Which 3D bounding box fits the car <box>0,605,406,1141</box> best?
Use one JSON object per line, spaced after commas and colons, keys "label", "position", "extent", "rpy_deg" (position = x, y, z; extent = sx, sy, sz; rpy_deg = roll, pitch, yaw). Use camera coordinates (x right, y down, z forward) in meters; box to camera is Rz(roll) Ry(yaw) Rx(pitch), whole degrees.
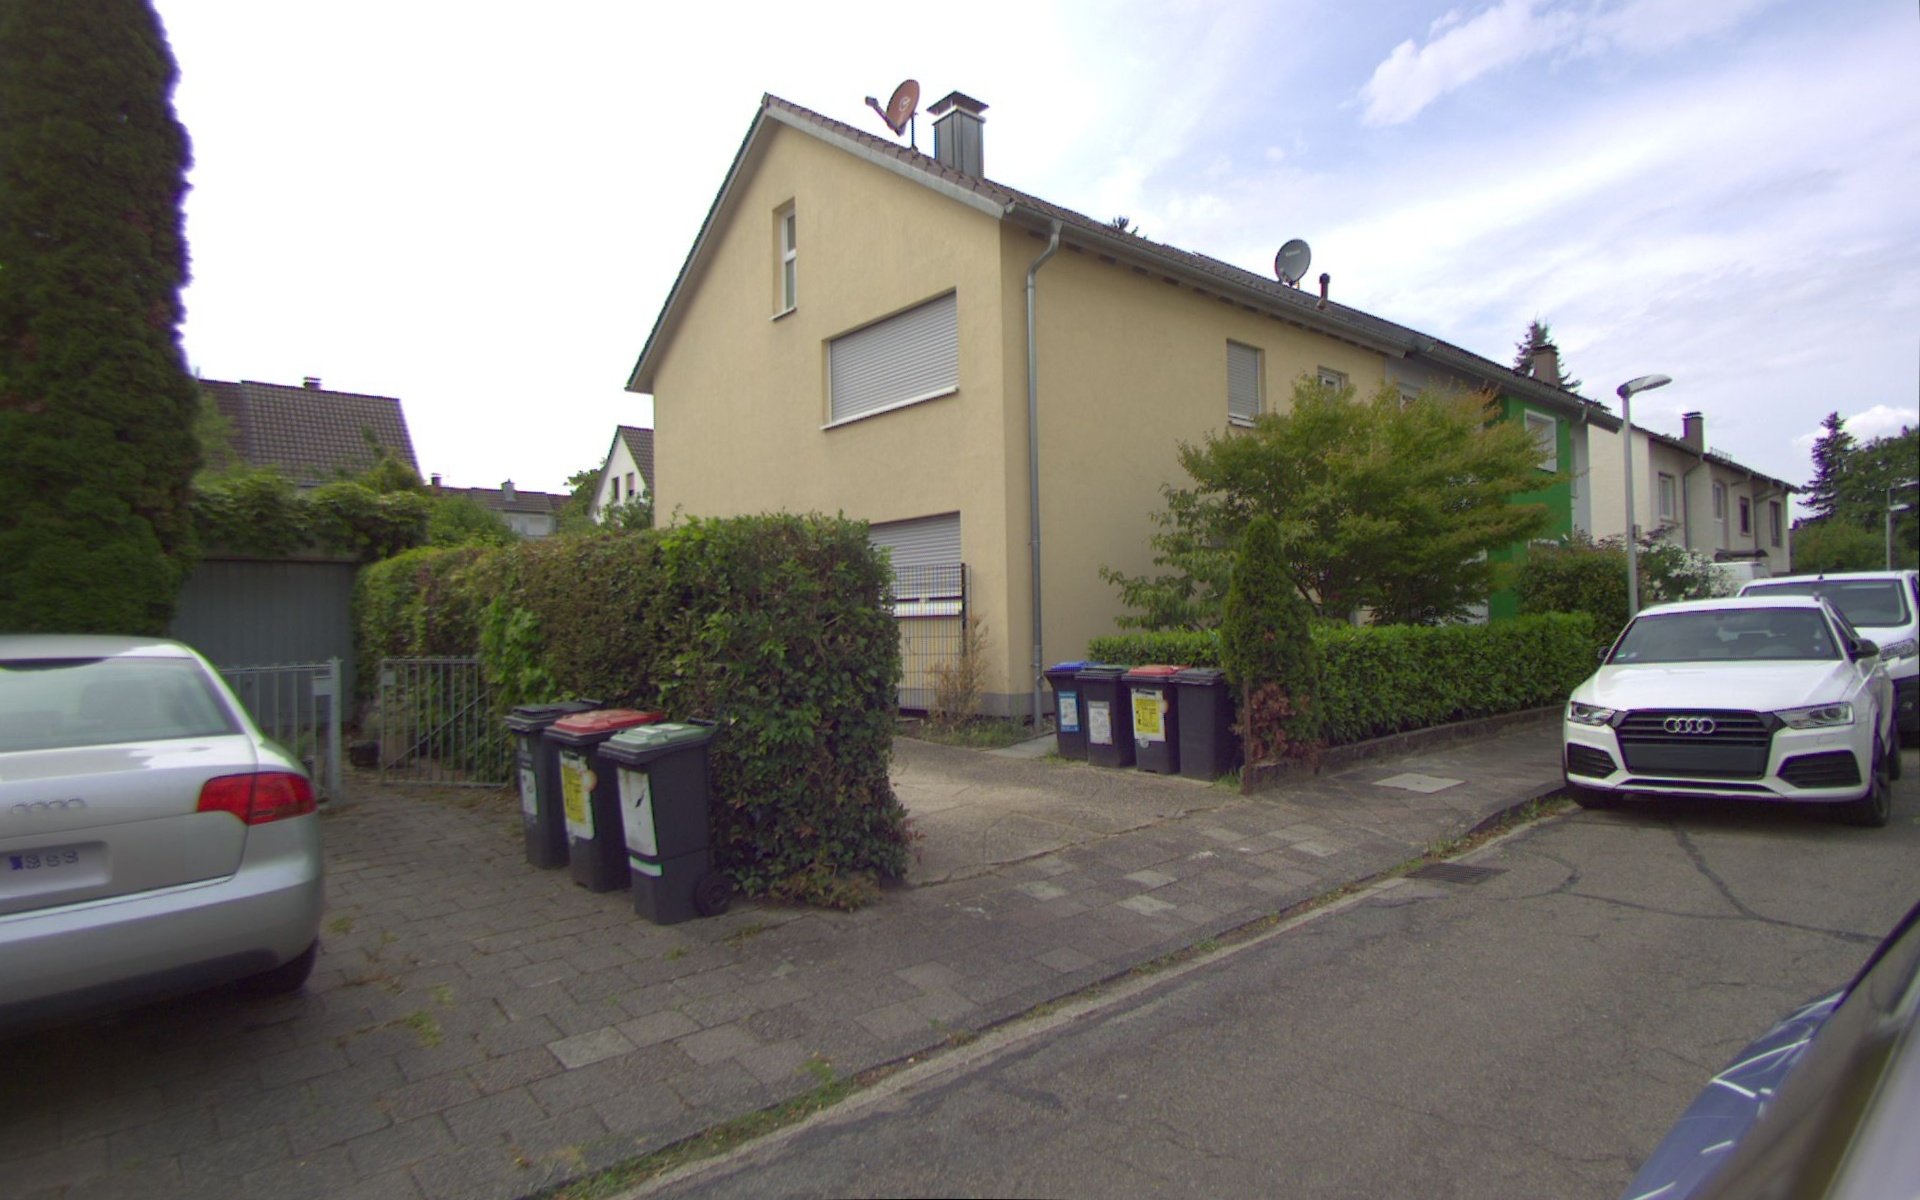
{"label": "car", "position": [-4.033, 0.769, 4.302], "extent": [4.019, 1.445, 1.824], "rpy_deg": [0, 0, 44]}

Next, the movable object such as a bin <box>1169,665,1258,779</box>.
{"label": "movable object such as a bin", "position": [2.128, 1.003, 8.500], "extent": [0.520, 0.879, 0.510], "rpy_deg": [0, -2, -42]}

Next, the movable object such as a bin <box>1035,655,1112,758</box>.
{"label": "movable object such as a bin", "position": [1.087, 1.004, 9.714], "extent": [0.514, 0.917, 0.510], "rpy_deg": [0, -2, -42]}

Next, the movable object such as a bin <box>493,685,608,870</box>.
{"label": "movable object such as a bin", "position": [-2.440, 1.022, 6.022], "extent": [0.491, 0.979, 0.510], "rpy_deg": [0, -2, -42]}

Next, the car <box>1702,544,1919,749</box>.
{"label": "car", "position": [10.744, 0.471, 12.111], "extent": [5.163, 1.990, 1.905], "rpy_deg": [0, -3, -42]}

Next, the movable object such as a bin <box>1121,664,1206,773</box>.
{"label": "movable object such as a bin", "position": [1.789, 1.020, 8.902], "extent": [0.520, 0.879, 0.510], "rpy_deg": [0, -2, -42]}

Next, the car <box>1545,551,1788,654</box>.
{"label": "car", "position": [19.265, 0.074, 27.818], "extent": [2.198, 2.574, 5.097], "rpy_deg": [0, 0, -40]}

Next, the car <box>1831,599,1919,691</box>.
{"label": "car", "position": [16.605, 0.700, 17.346], "extent": [4.376, 1.439, 1.786], "rpy_deg": [-1, -3, -40]}

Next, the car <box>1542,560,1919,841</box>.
{"label": "car", "position": [6.333, 0.628, 8.067], "extent": [4.093, 1.657, 1.825], "rpy_deg": [0, -3, -44]}

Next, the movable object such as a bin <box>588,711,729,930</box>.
{"label": "movable object such as a bin", "position": [-1.487, 1.045, 4.980], "extent": [0.491, 0.933, 0.510], "rpy_deg": [0, -2, -42]}

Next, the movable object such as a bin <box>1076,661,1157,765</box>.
{"label": "movable object such as a bin", "position": [1.439, 1.020, 9.303], "extent": [0.520, 0.879, 0.510], "rpy_deg": [0, -2, -42]}

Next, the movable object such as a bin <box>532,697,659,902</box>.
{"label": "movable object such as a bin", "position": [-1.984, 1.048, 5.506], "extent": [0.491, 0.979, 0.510], "rpy_deg": [0, -2, -42]}
